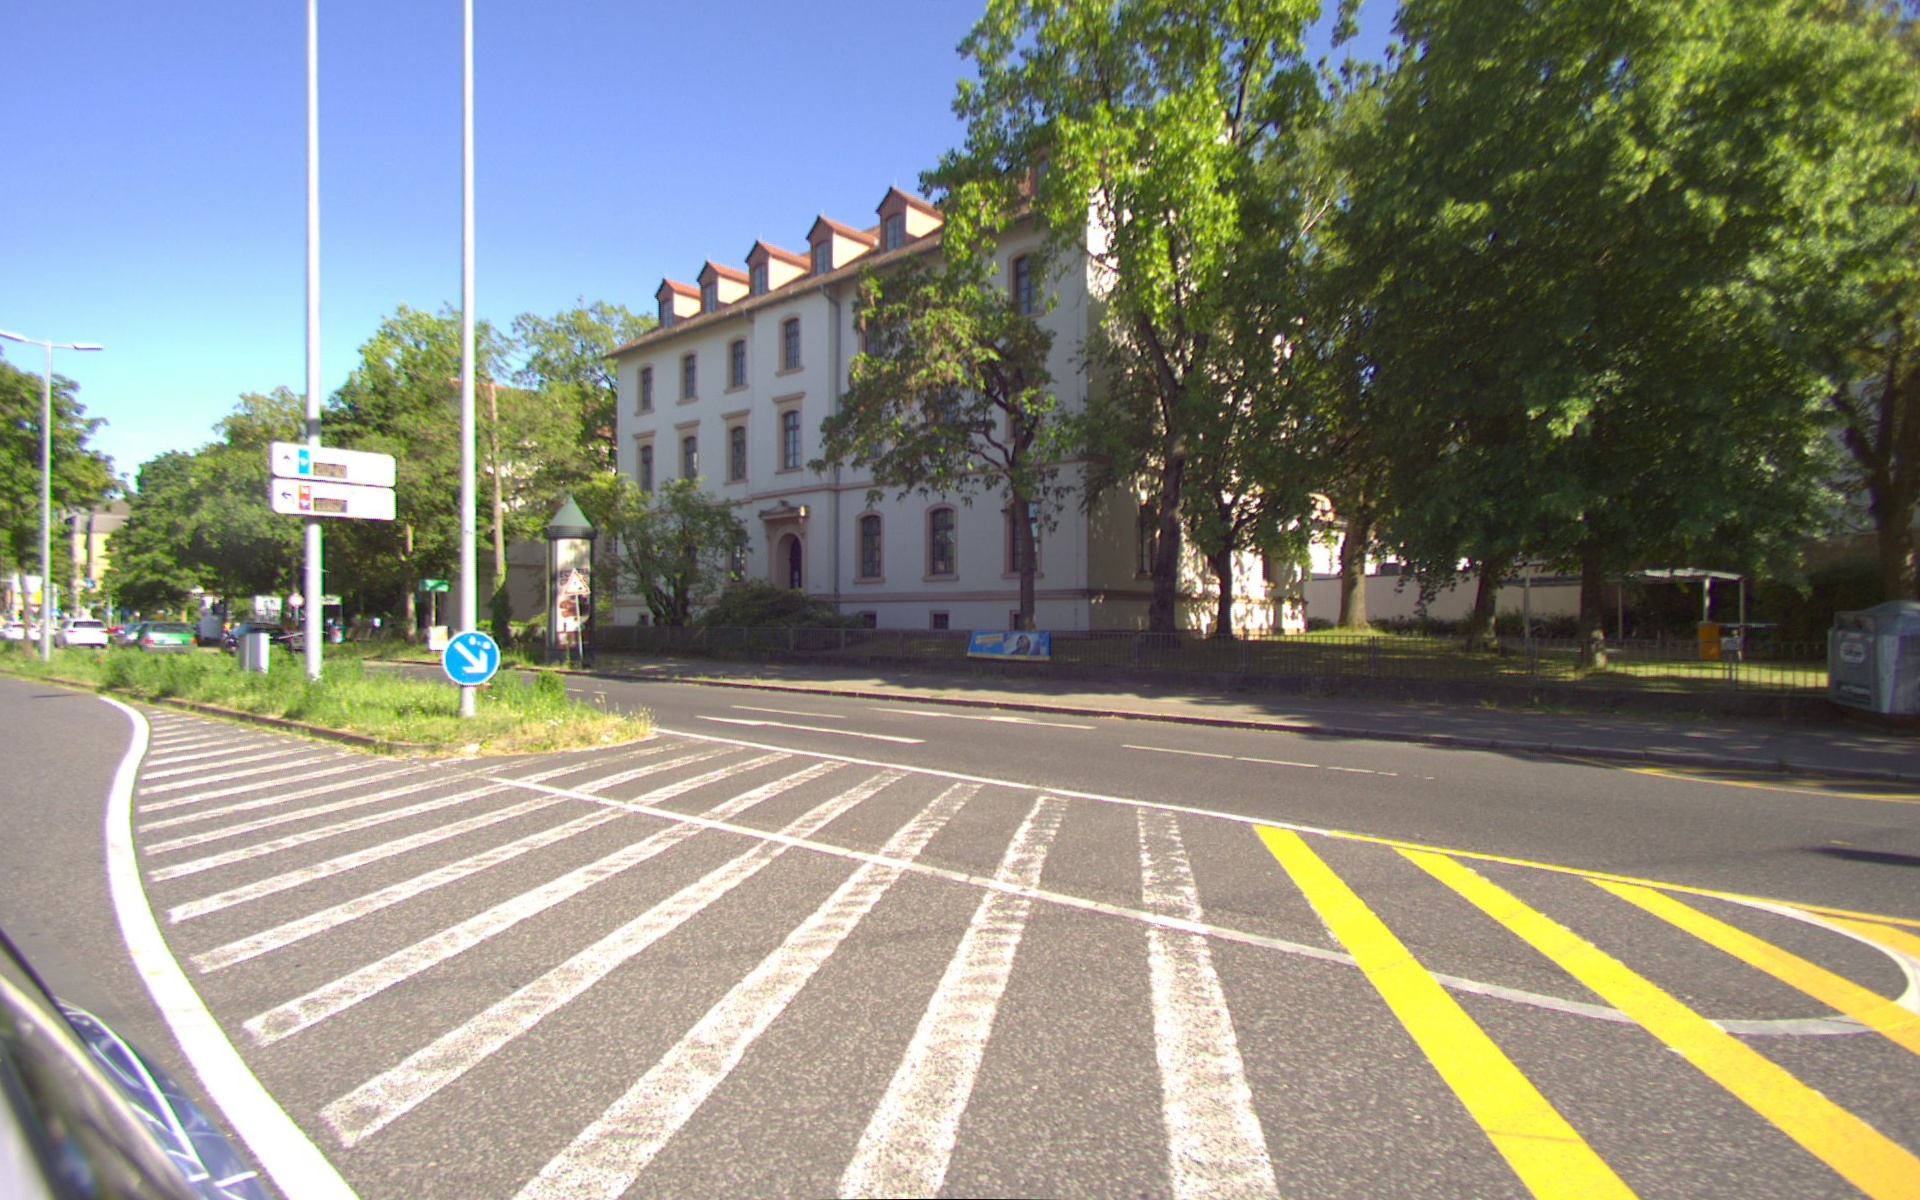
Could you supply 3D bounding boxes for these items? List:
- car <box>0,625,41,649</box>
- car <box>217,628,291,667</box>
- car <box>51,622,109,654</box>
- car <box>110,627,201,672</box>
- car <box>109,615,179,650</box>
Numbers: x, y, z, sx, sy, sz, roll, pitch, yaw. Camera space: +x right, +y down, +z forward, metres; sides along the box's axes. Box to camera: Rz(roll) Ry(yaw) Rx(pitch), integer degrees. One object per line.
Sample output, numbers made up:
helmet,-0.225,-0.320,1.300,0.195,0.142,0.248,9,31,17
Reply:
car,-61.182,2.375,65.607,4.663,1.530,1.820,-1,-2,40
car,-30.418,1.992,43.559,4.424,1.530,1.776,-1,-1,44
car,-47.432,2.026,54.513,4.537,1.638,1.879,-1,-3,44
car,-28.761,1.730,36.130,4.253,1.530,1.622,-1,-2,38
car,-37.714,1.500,46.724,4.084,1.530,1.777,0,-2,41
